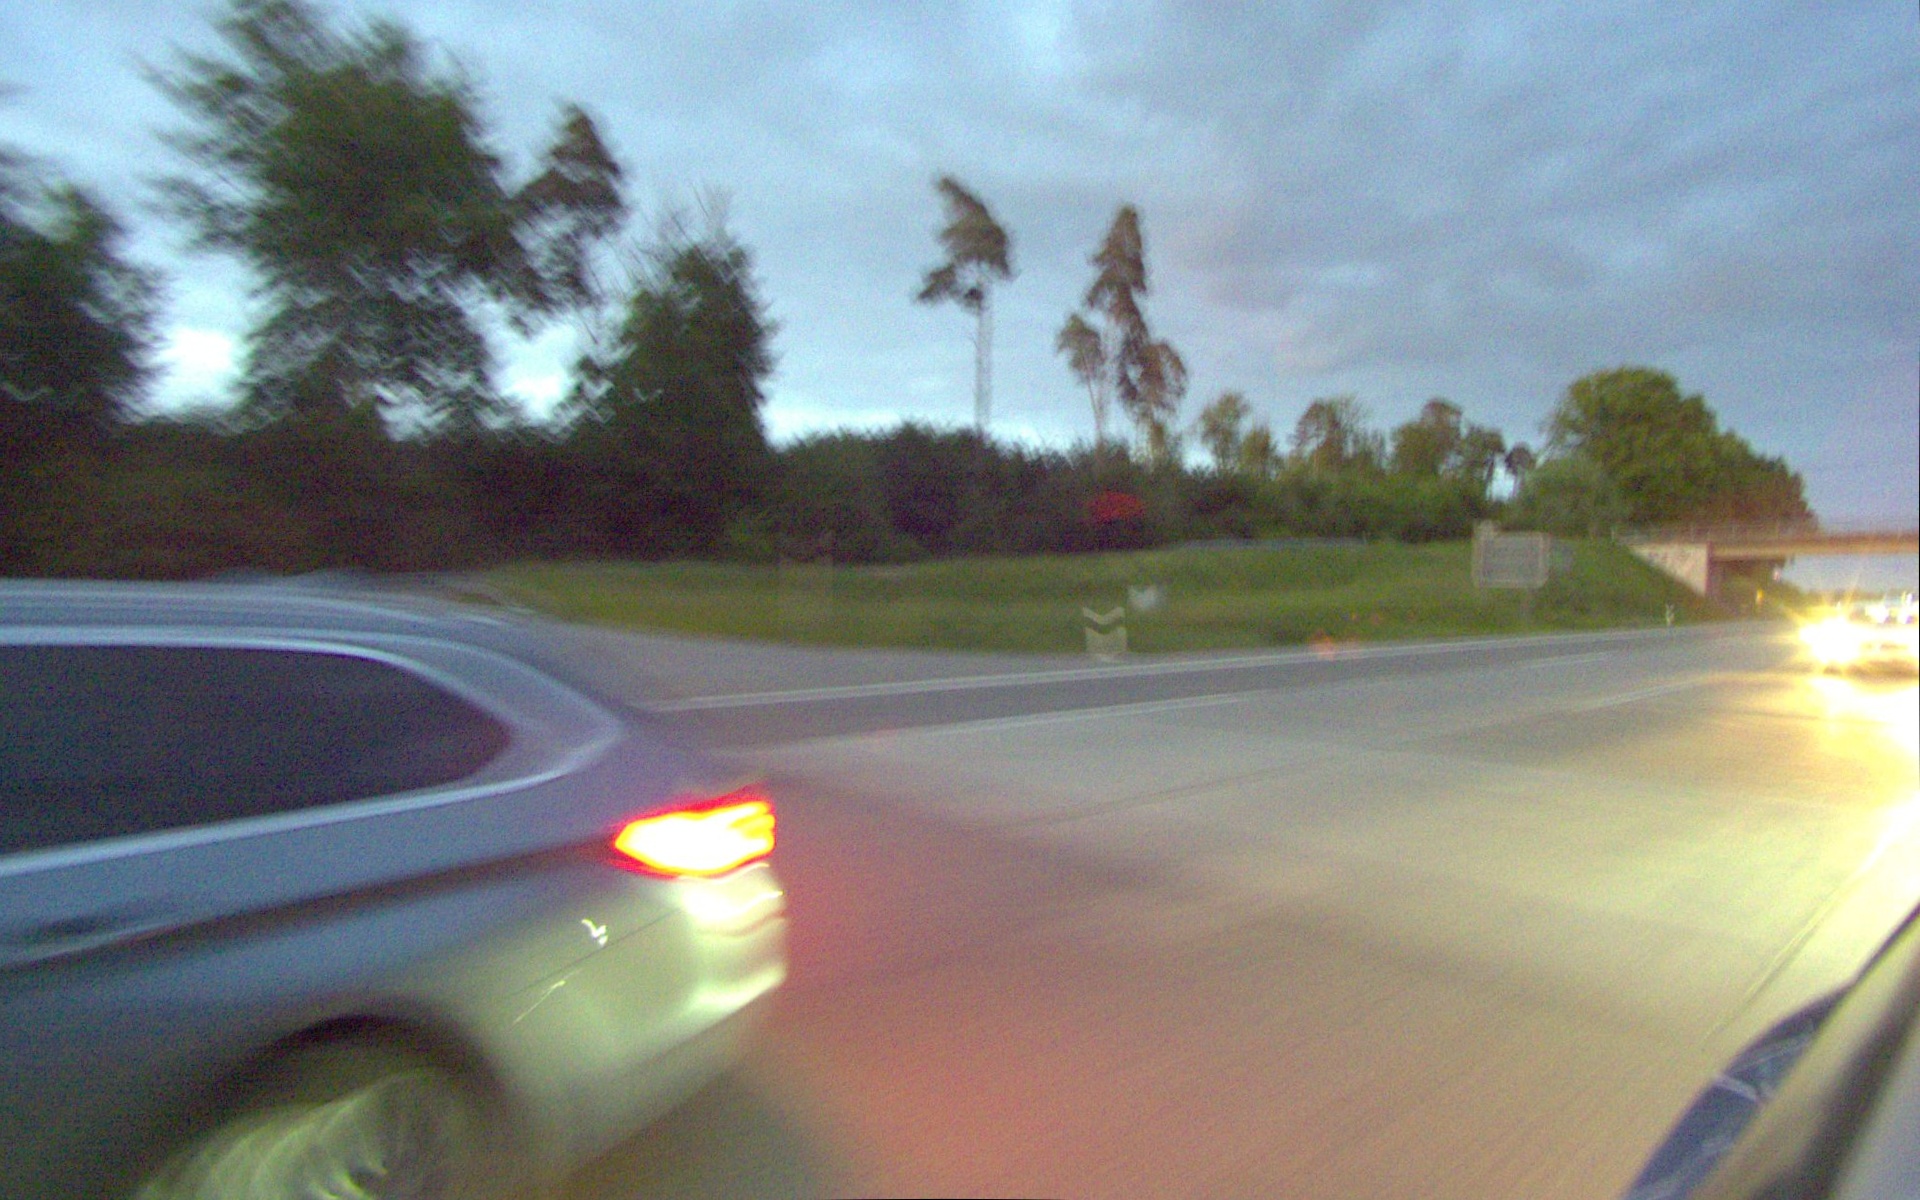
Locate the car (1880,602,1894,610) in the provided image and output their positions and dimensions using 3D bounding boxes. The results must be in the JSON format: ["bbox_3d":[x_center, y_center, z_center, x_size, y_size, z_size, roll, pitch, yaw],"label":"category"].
[{"bbox_3d":[174.455,1.143,190.428,1.814,1.398,3.981,0,0,42],"label":"car"}]

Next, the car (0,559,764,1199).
[{"bbox_3d":[-3.004,0.691,1.342,5.140,1.557,1.912,1,0,-42],"label":"car"}]

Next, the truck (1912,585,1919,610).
[{"bbox_3d":[159.802,-0.319,167.248,3.135,4.062,10.385,0,0,41],"label":"truck"}]

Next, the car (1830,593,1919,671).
[{"bbox_3d":[19.844,0.602,21.224,5.044,1.484,1.811,0,1,-42],"label":"car"}]
